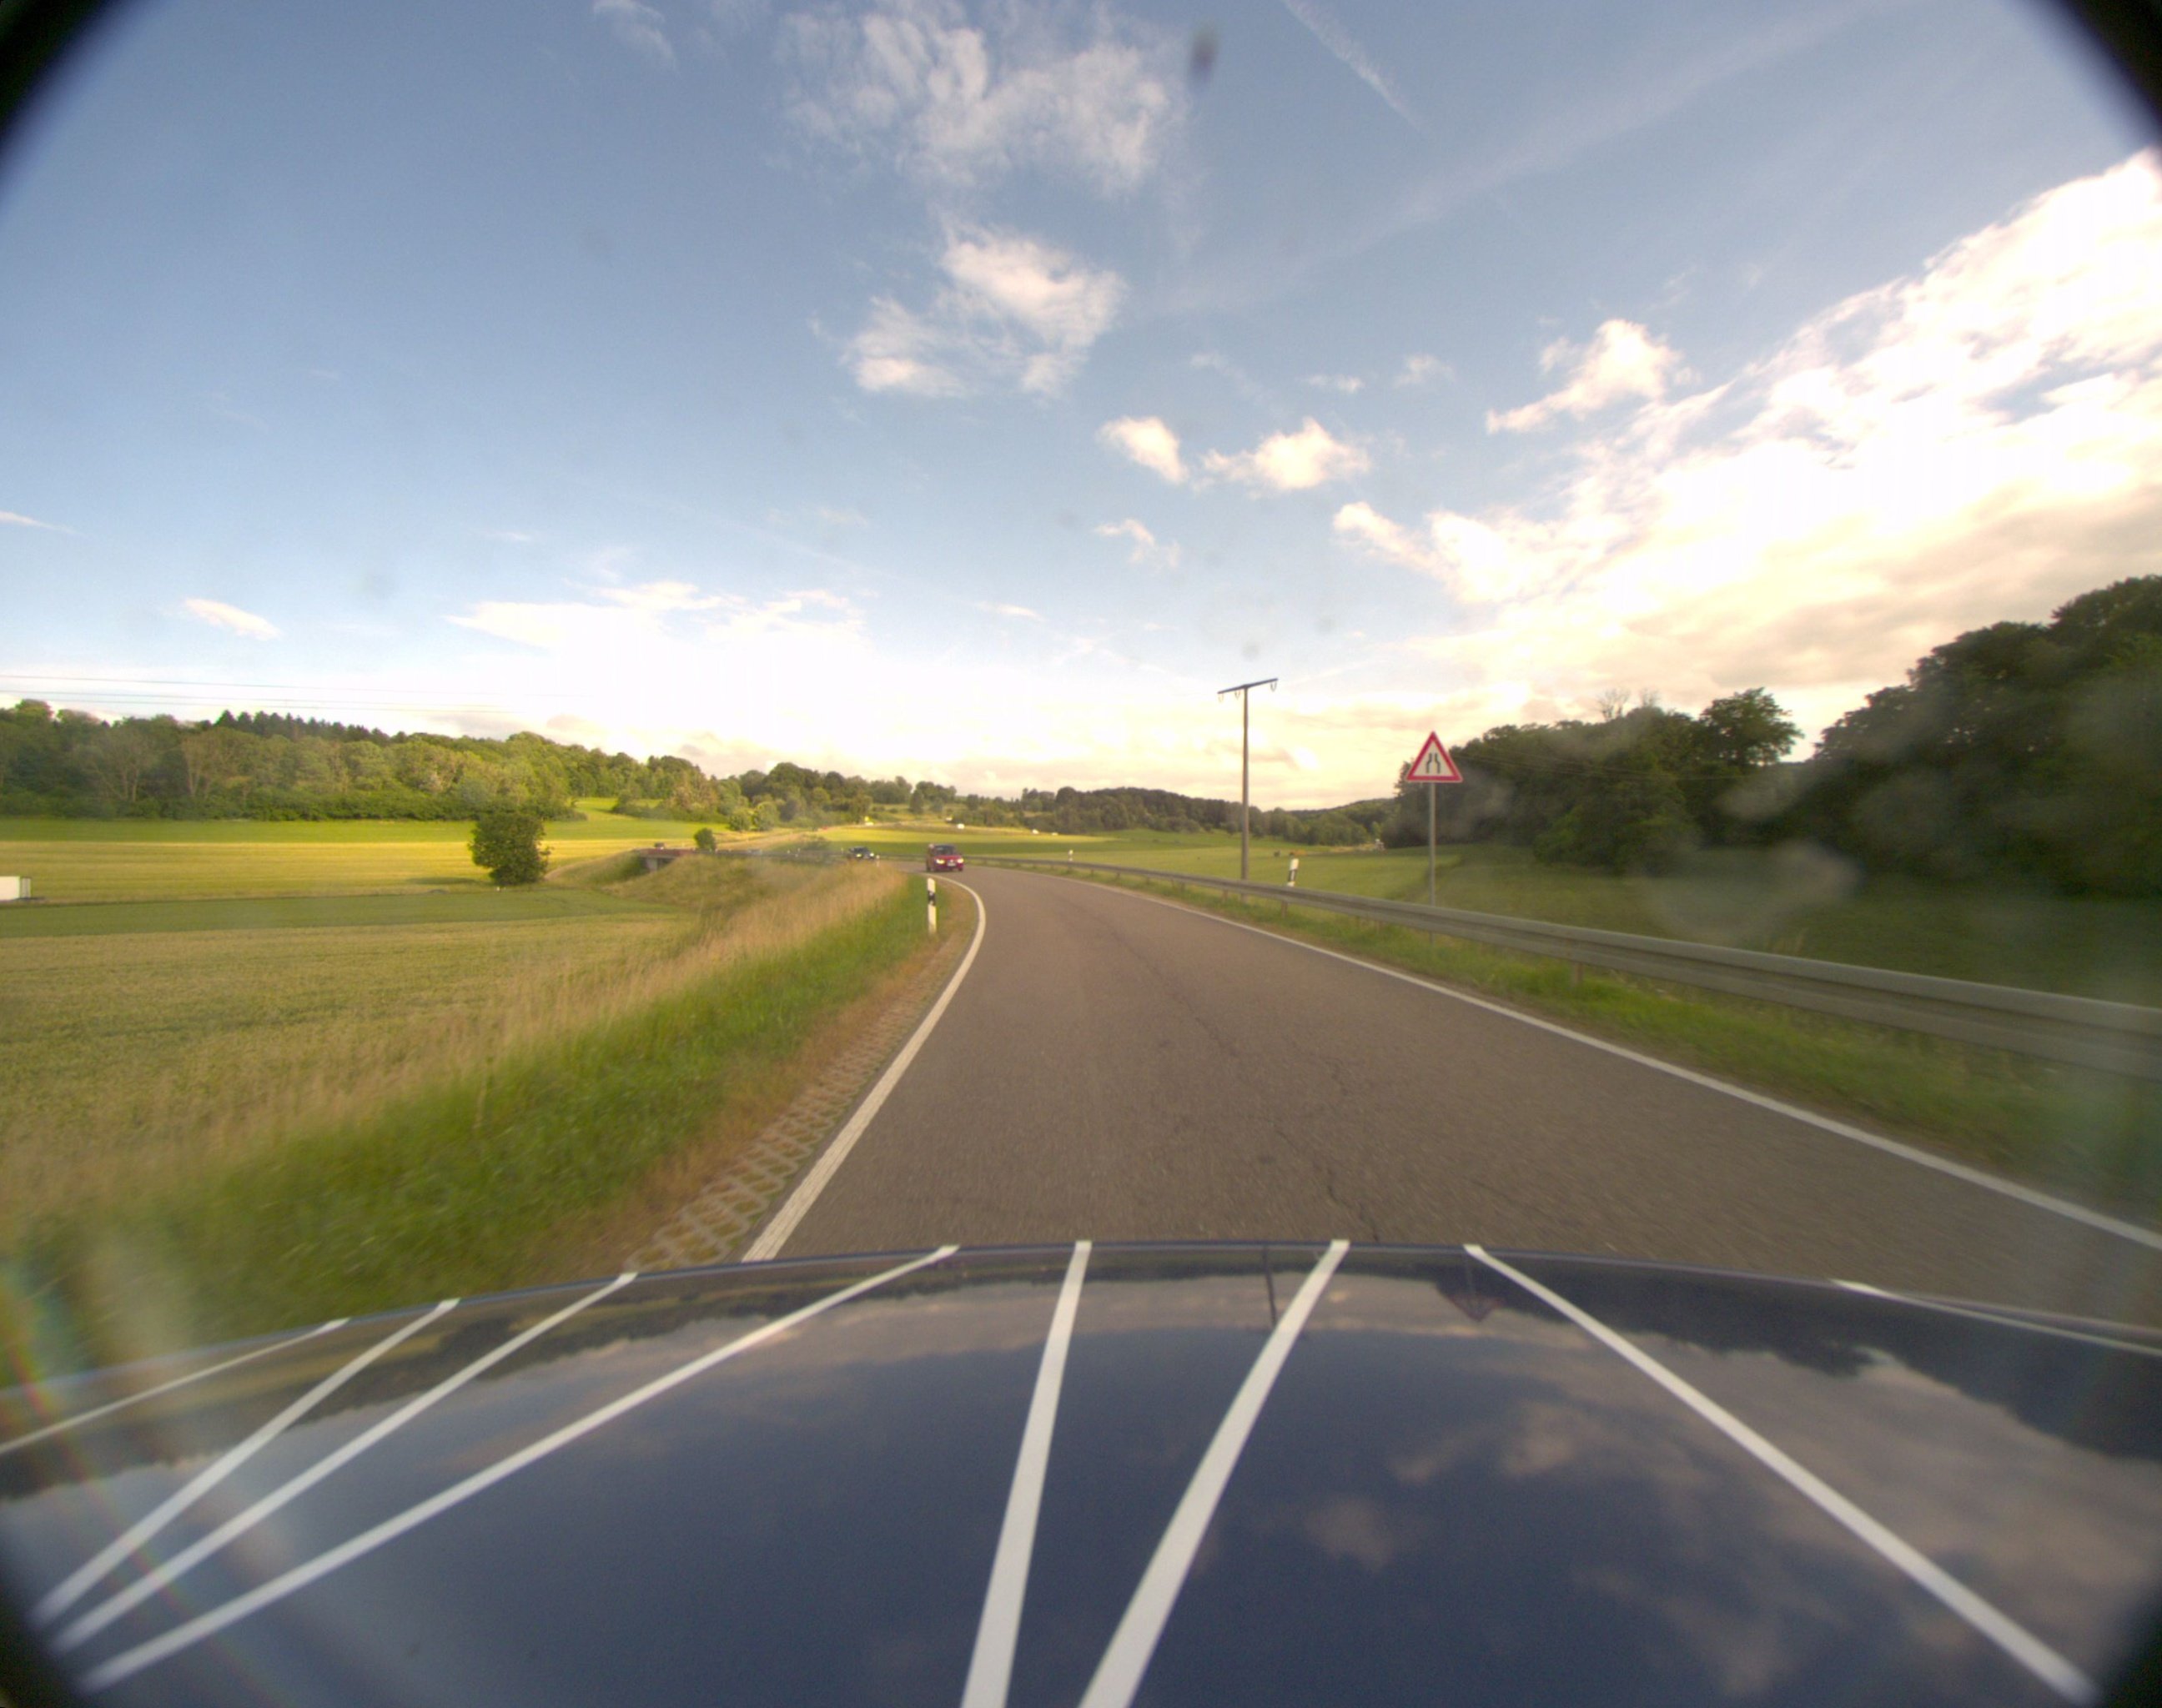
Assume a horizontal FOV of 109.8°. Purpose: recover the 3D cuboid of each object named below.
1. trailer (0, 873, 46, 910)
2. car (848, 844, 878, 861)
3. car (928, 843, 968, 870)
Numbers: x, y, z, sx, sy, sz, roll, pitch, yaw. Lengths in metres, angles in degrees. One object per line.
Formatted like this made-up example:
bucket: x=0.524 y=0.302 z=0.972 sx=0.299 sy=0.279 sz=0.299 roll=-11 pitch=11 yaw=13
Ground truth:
trailer: x=-134.620 y=4.585 z=90.668 sx=12.751 sy=4.441 sz=3.025 roll=-1 pitch=-1 yaw=-36
car: x=-21.159 y=-0.123 z=73.679 sx=1.825 sy=1.601 sz=3.990 roll=0 pitch=0 yaw=-30
car: x=-8.725 y=0.190 z=49.560 sx=1.824 sy=1.645 sz=3.994 roll=-2 pitch=-1 yaw=-20
